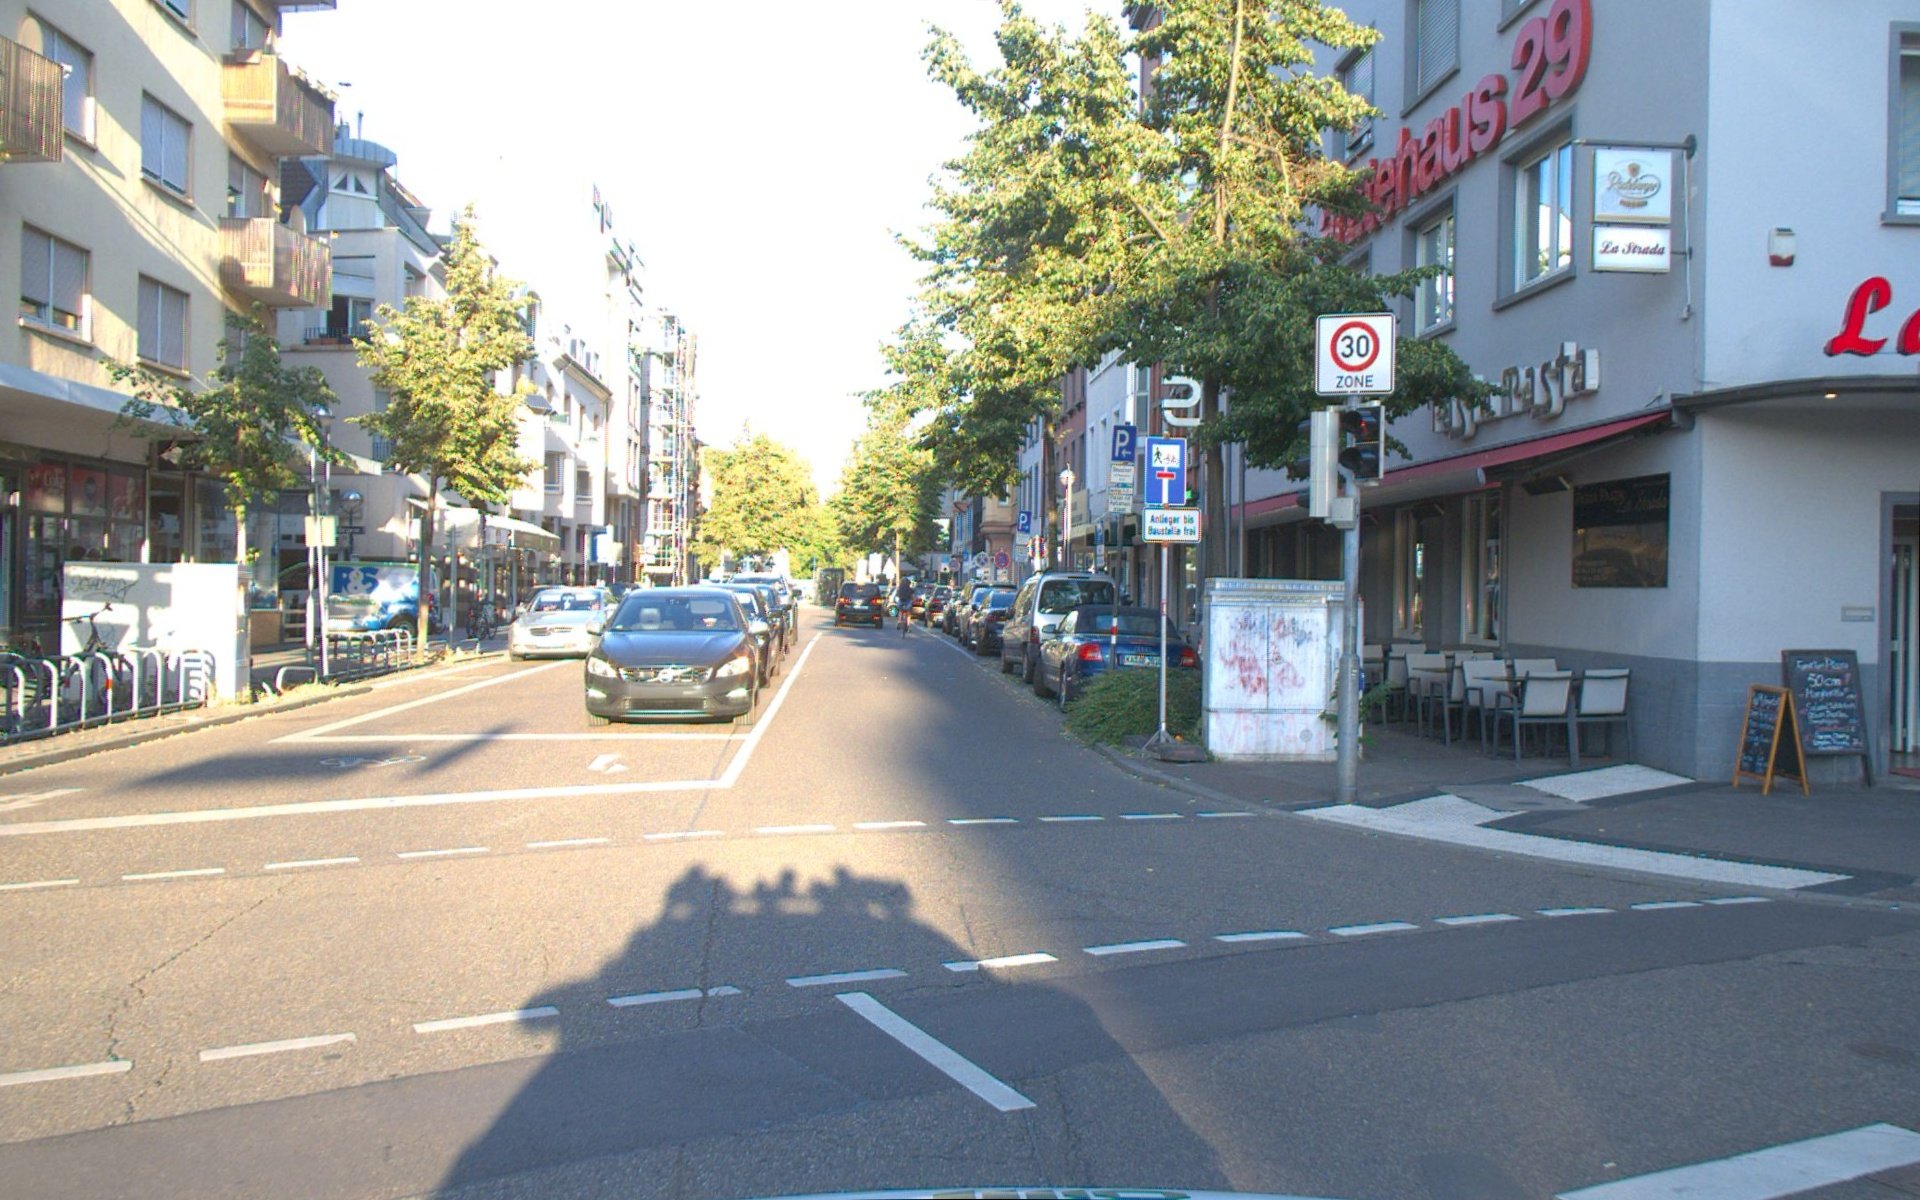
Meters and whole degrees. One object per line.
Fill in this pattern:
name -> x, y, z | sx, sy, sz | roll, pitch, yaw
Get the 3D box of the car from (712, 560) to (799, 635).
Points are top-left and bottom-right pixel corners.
car -> -4.799, -0.035, 39.342 | 1.903, 1.674, 4.733 | 0, -1, -5

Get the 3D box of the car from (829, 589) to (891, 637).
car -> -3.631, 0.494, 60.667 | 1.953, 1.629, 4.509 | 2, -1, 0

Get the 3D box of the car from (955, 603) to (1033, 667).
car -> 0.849, 0.913, 44.045 | 1.775, 1.554, 4.991 | 2, -1, -2

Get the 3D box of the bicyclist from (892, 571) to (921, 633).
bicyclist -> -1.536, 0.062, 47.086 | 0.765, 1.726, 1.006 | 0, -1, -6

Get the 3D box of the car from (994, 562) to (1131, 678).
car -> 1.693, 0.314, 28.623 | 1.623, 1.809, 4.006 | 2, 0, -7

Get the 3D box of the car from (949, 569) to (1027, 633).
car -> 0.785, 0.049, 50.338 | 1.846, 1.785, 5.053 | 2, -1, -5

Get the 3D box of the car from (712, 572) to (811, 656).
car -> -3.922, 0.283, 33.209 | 1.689, 1.577, 4.461 | 0, -1, -3

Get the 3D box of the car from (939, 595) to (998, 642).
car -> 0.251, 0.634, 57.391 | 1.727, 1.509, 4.303 | 2, -1, -3

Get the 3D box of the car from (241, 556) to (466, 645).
car -> -14.274, 0.033, 39.206 | 4.786, 1.860, 1.991 | 2, -1, -16

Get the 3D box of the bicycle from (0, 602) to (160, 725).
bicycle -> -9.629, 0.661, 17.541 | 1.970, 1.240, 0.491 | 2, -1, -4

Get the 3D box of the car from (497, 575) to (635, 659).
car -> -7.929, 0.350, 33.658 | 1.954, 1.538, 4.506 | -2, -1, -4

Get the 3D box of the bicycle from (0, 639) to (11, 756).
bicycle -> -9.245, 0.807, 14.046 | 1.971, 1.009, 0.490 | 2, -1, -8

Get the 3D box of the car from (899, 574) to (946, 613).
car -> -1.802, -0.276, 78.591 | 1.790, 1.725, 4.362 | 2, -1, -7

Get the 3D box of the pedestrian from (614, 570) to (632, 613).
pedestrian -> -14.666, -0.366, 71.928 | 0.704, 1.798, 0.692 | 2, -1, -12

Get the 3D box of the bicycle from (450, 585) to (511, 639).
bicycle -> -12.562, 0.322, 43.456 | 0.940, 1.323, 3.123 | 2, -1, -6

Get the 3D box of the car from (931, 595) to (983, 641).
car -> -0.166, 0.727, 65.375 | 1.776, 1.697, 4.202 | 2, -1, -3

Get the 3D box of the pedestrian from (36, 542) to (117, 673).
pedestrian -> -12.961, 0.096, 24.271 | 0.751, 1.880, 0.743 | 1, 1, 6

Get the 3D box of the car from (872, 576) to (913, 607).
car -> -4.599, -0.553, 111.763 | 2.223, 1.796, 4.502 | 7, -1, -7

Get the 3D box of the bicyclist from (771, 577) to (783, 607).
bicyclist -> -11.504, -0.518, 103.899 | 0.765, 1.861, 1.006 | 0, -1, -6

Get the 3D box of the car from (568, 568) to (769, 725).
car -> -3.199, 0.441, 18.969 | 1.920, 1.574, 4.504 | 1, 1, -6

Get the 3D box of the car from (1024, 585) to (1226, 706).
car -> 2.090, 0.552, 22.151 | 1.899, 1.400, 4.177 | 2, 0, -5

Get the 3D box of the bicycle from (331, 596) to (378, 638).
bicycle -> -15.170, 0.428, 41.466 | 0.480, 1.009, 2.015 | 2, -1, -2

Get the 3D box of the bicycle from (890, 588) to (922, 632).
bicycle -> -1.554, 0.298, 47.091 | 0.765, 1.225, 2.018 | 0, -1, -6

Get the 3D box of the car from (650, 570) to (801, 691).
car -> -3.495, 0.452, 25.370 | 1.907, 1.674, 4.612 | 0, -1, -3

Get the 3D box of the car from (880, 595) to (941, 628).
car -> -2.533, 0.603, 84.349 | 2.913, 1.563, 1.431 | 2, -1, -8

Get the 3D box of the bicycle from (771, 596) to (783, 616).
bicycle -> -11.502, 0.390, 103.870 | 0.765, 1.225, 2.018 | 0, -1, -6

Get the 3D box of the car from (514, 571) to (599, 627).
car -> -11.178, 0.001, 46.036 | 1.628, 1.427, 3.880 | 2, -1, -4

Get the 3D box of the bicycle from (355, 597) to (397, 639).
bicycle -> -14.628, 0.451, 41.447 | 0.480, 1.009, 2.013 | 2, -1, -6

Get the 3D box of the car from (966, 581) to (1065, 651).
car -> 1.207, 0.347, 37.879 | 1.718, 1.445, 4.505 | 2, 0, -5
